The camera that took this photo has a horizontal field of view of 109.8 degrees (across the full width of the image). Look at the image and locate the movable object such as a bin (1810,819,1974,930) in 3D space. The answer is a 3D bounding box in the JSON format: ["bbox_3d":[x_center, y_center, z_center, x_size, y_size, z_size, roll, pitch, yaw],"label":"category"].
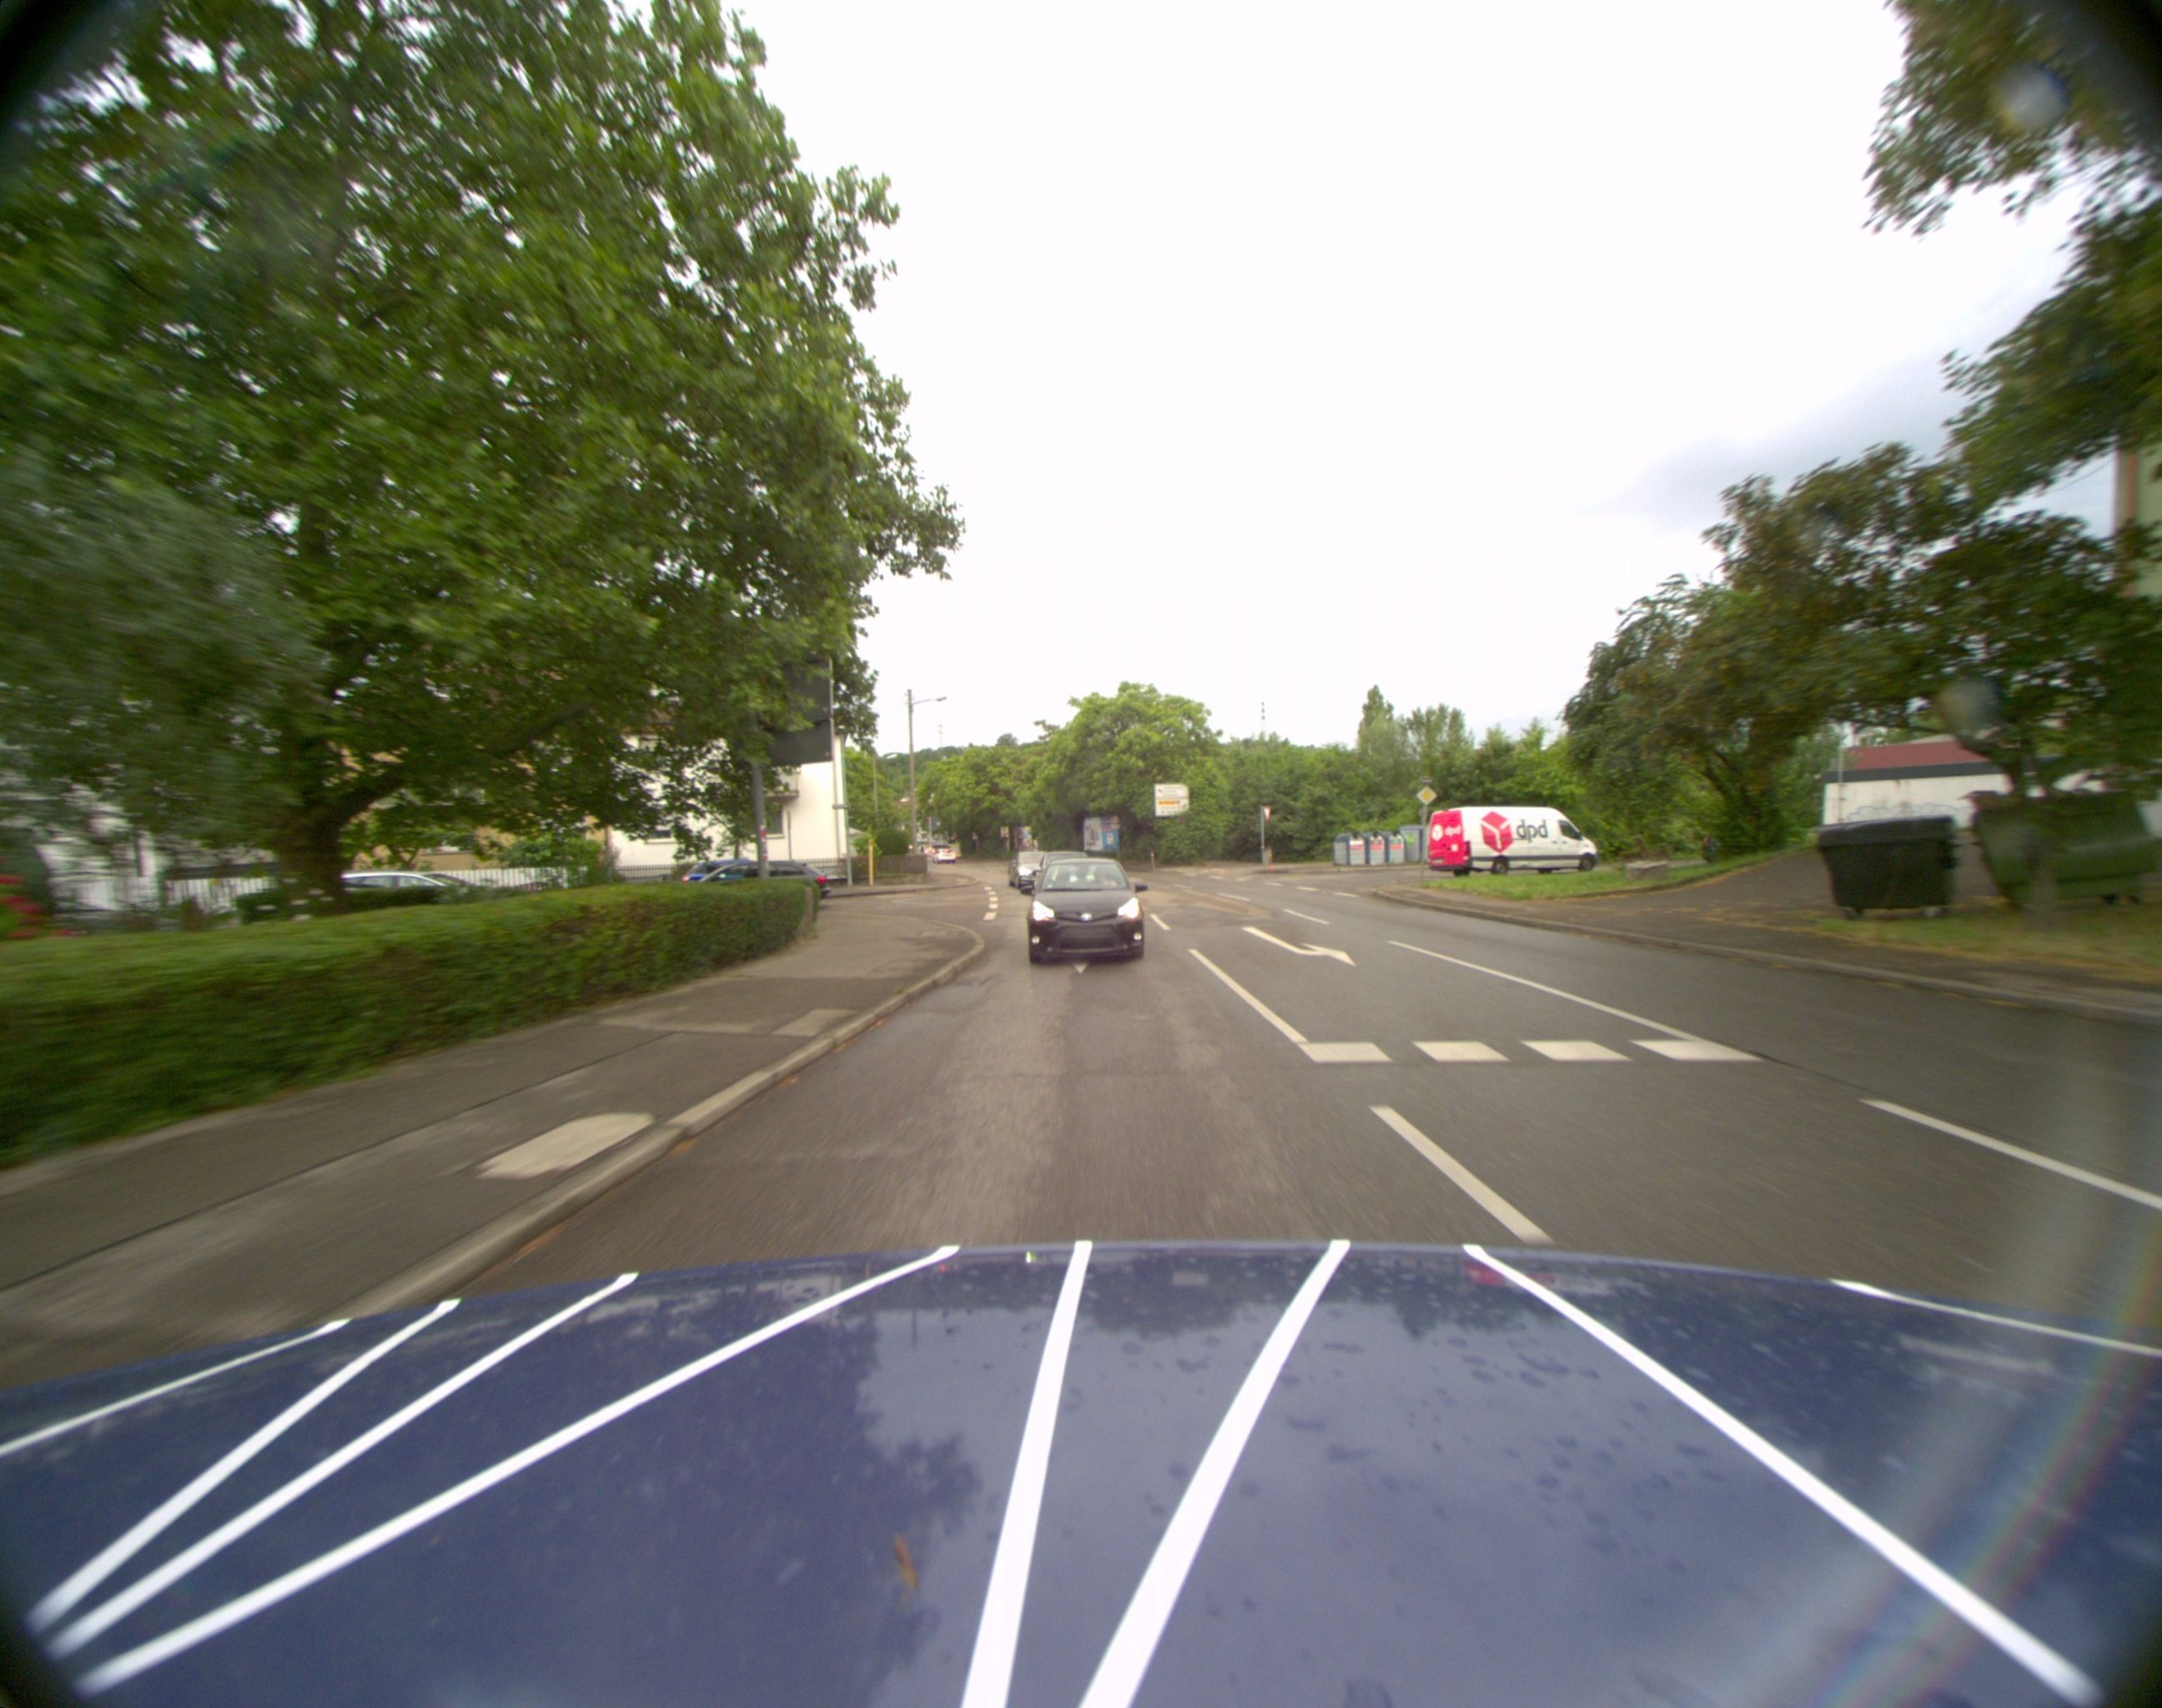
[{"bbox_3d":[11.621,0.284,10.898,1.475,1.432,1.374,-3,-2,-37],"label":"movable object such as a bin"}]

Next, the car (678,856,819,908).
[{"bbox_3d":[-10.723,0.866,24.735,4.004,1.456,1.857,-2,1,-22],"label":"car"}]

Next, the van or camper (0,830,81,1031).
[{"bbox_3d":[-12.149,0.800,6.208,4.332,1.893,1.996,-2,1,-21],"label":"van or camper"}]

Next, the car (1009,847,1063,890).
[{"bbox_3d":[-1.879,0.542,30.502,1.708,1.548,3.996,-2,1,-9],"label":"car"}]

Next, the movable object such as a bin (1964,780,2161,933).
[{"bbox_3d":[12.546,0.046,9.712,1.580,1.750,1.450,-3,-2,-37],"label":"movable object such as a bin"}]

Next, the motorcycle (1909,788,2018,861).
[{"bbox_3d":[16.319,-0.553,14.064,1.481,1.190,0.431,-6,4,1],"label":"motorcycle"}]

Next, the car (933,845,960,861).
[{"bbox_3d":[-14.458,-0.109,81.505,1.844,1.548,5.563,-2,1,-20],"label":"car"}]

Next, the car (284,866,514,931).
[{"bbox_3d":[-19.229,1.193,21.707,4.396,1.505,1.997,-2,1,-18],"label":"car"}]

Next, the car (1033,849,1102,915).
[{"bbox_3d":[-0.375,0.686,20.528,1.644,1.548,3.627,-2,1,-1],"label":"car"}]

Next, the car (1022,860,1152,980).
[{"bbox_3d":[-0.018,0.880,11.923,1.645,1.450,3.999,-3,0,-3],"label":"car"}]

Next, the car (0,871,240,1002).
[{"bbox_3d":[-14.162,1.066,9.789,4.000,1.456,1.998,-2,1,-10],"label":"car"}]

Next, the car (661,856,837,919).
[{"bbox_3d":[-9.464,0.904,21.964,4.397,1.505,1.996,-2,1,-21],"label":"car"}]

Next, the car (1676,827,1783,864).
[{"bbox_3d":[30.157,-0.415,35.379,4.072,1.521,1.997,-2,1,-19],"label":"car"}]

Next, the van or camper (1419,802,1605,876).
[{"bbox_3d":[16.390,-0.592,28.905,6.702,2.507,2.219,-2,1,-19],"label":"van or camper"}]
